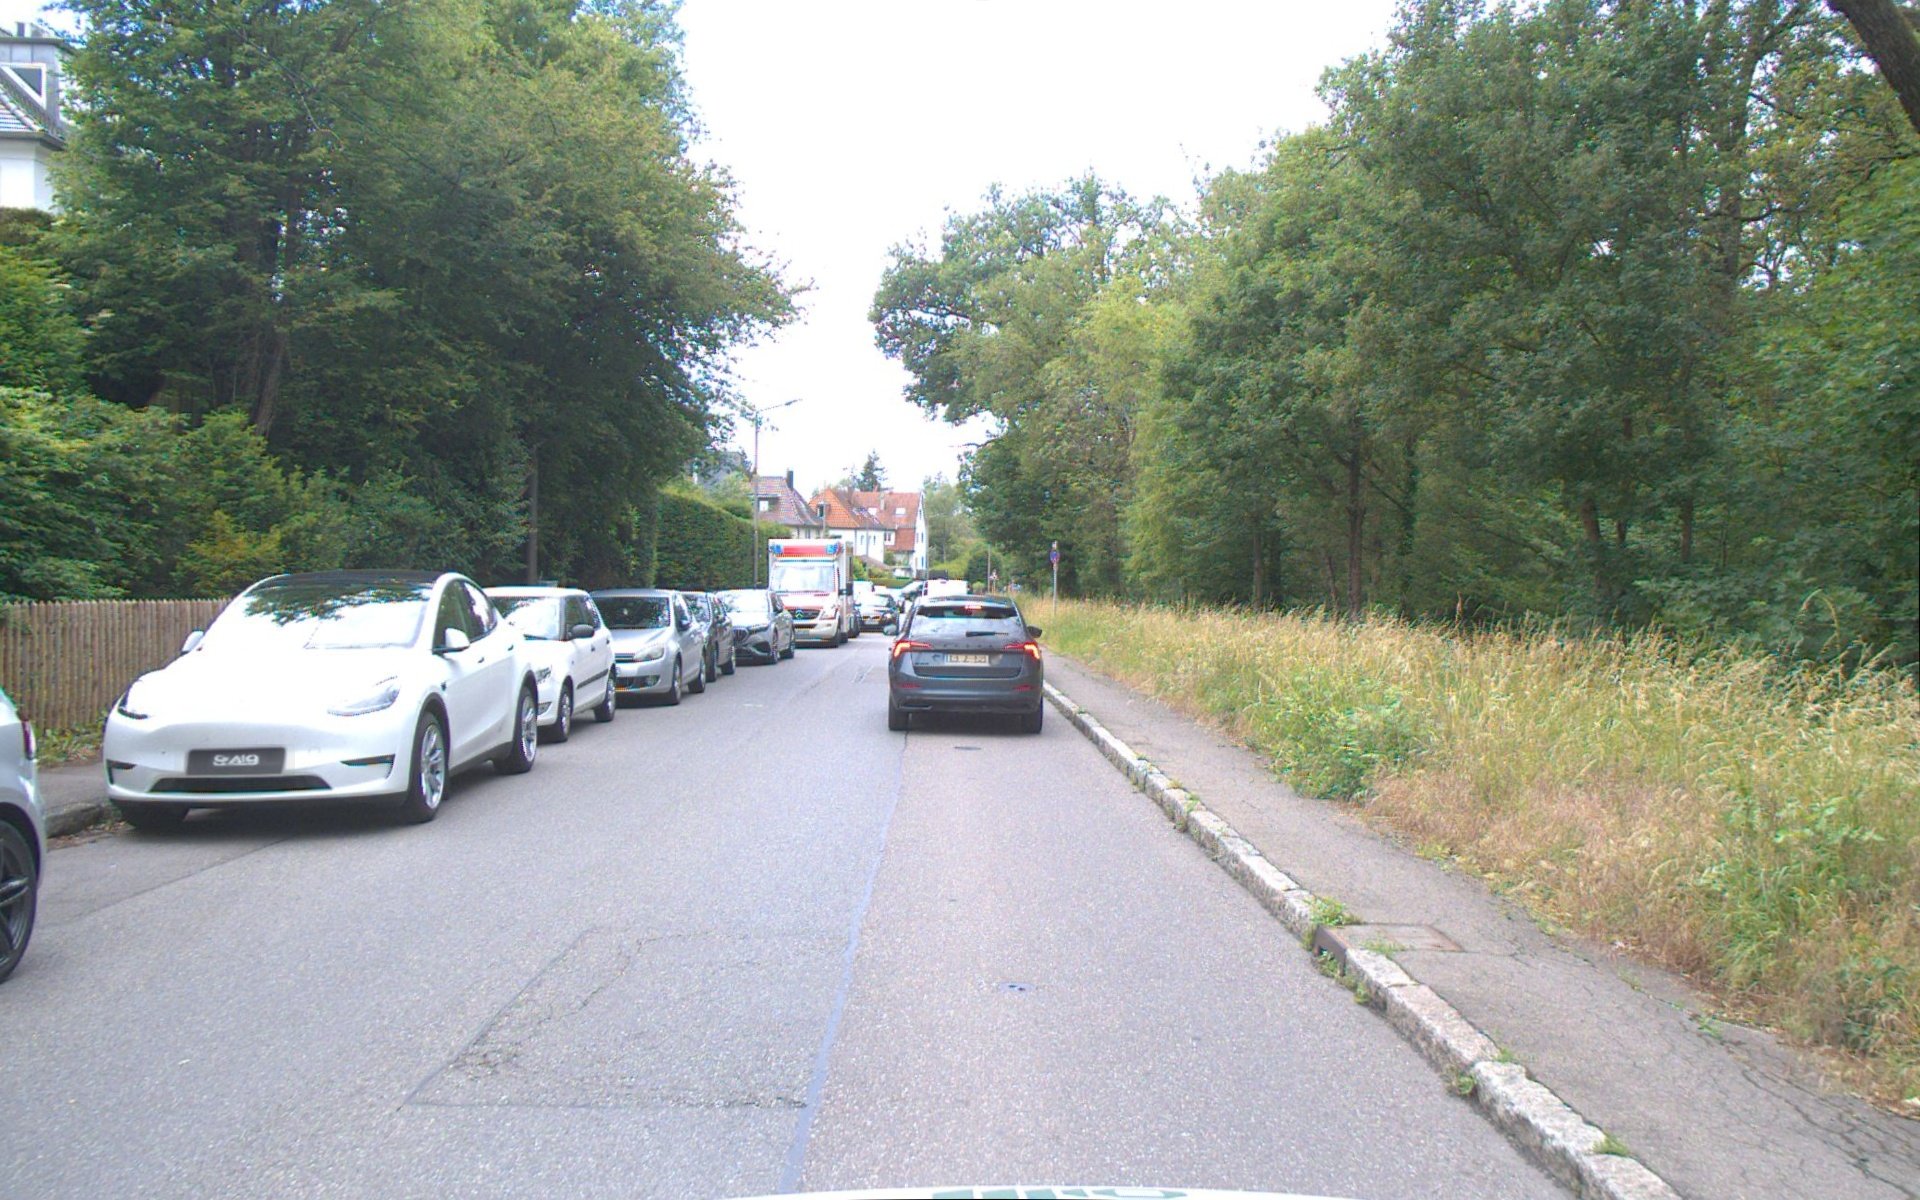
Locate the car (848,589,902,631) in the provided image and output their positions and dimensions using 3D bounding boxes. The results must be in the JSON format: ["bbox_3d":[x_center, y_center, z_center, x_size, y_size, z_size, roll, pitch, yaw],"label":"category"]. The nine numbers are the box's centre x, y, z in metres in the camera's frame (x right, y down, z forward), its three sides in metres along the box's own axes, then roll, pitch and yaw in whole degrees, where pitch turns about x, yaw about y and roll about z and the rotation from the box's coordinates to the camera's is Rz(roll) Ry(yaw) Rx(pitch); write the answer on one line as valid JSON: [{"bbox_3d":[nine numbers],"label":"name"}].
[{"bbox_3d":[-3.100,0.336,61.078,1.727,1.471,4.474,0,0,0],"label":"car"}]

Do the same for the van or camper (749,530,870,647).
[{"bbox_3d":[-4.026,-0.318,45.654,2.405,2.945,7.170,0,0,2],"label":"van or camper"}]

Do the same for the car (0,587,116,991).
[{"bbox_3d":[-4.367,0.700,4.774,1.797,1.464,4.116,0,0,-1],"label":"car"}]

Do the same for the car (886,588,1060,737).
[{"bbox_3d":[0.043,0.634,19.314,1.694,1.464,4.321,2,1,-4],"label":"car"}]

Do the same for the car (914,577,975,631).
[{"bbox_3d":[-0.655,0.115,64.499,2.031,1.955,4.918,2,1,-4],"label":"car"}]

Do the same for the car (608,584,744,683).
[{"bbox_3d":[-4.775,0.525,28.295,1.685,1.531,4.059,-1,0,-2],"label":"car"}]

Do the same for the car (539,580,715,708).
[{"bbox_3d":[-4.389,0.531,22.320,1.686,1.531,4.006,-1,0,-2],"label":"car"}]

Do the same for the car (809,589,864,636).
[{"bbox_3d":[-4.027,0.374,54.163,1.729,1.471,4.470,0,0,-4],"label":"car"}]

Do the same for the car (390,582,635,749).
[{"bbox_3d":[-4.572,0.592,17.428,1.686,1.531,3.815,-1,1,-3],"label":"car"}]

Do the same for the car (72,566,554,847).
[{"bbox_3d":[-4.325,0.594,11.943,1.878,1.589,4.601,-1,1,-3],"label":"car"}]

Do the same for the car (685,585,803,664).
[{"bbox_3d":[-4.482,0.469,34.989,1.761,1.531,4.864,-1,0,1],"label":"car"}]

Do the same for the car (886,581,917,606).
[{"bbox_3d":[-3.588,-0.440,102.635,1.825,1.439,4.591,2,0,-2],"label":"car"}]
